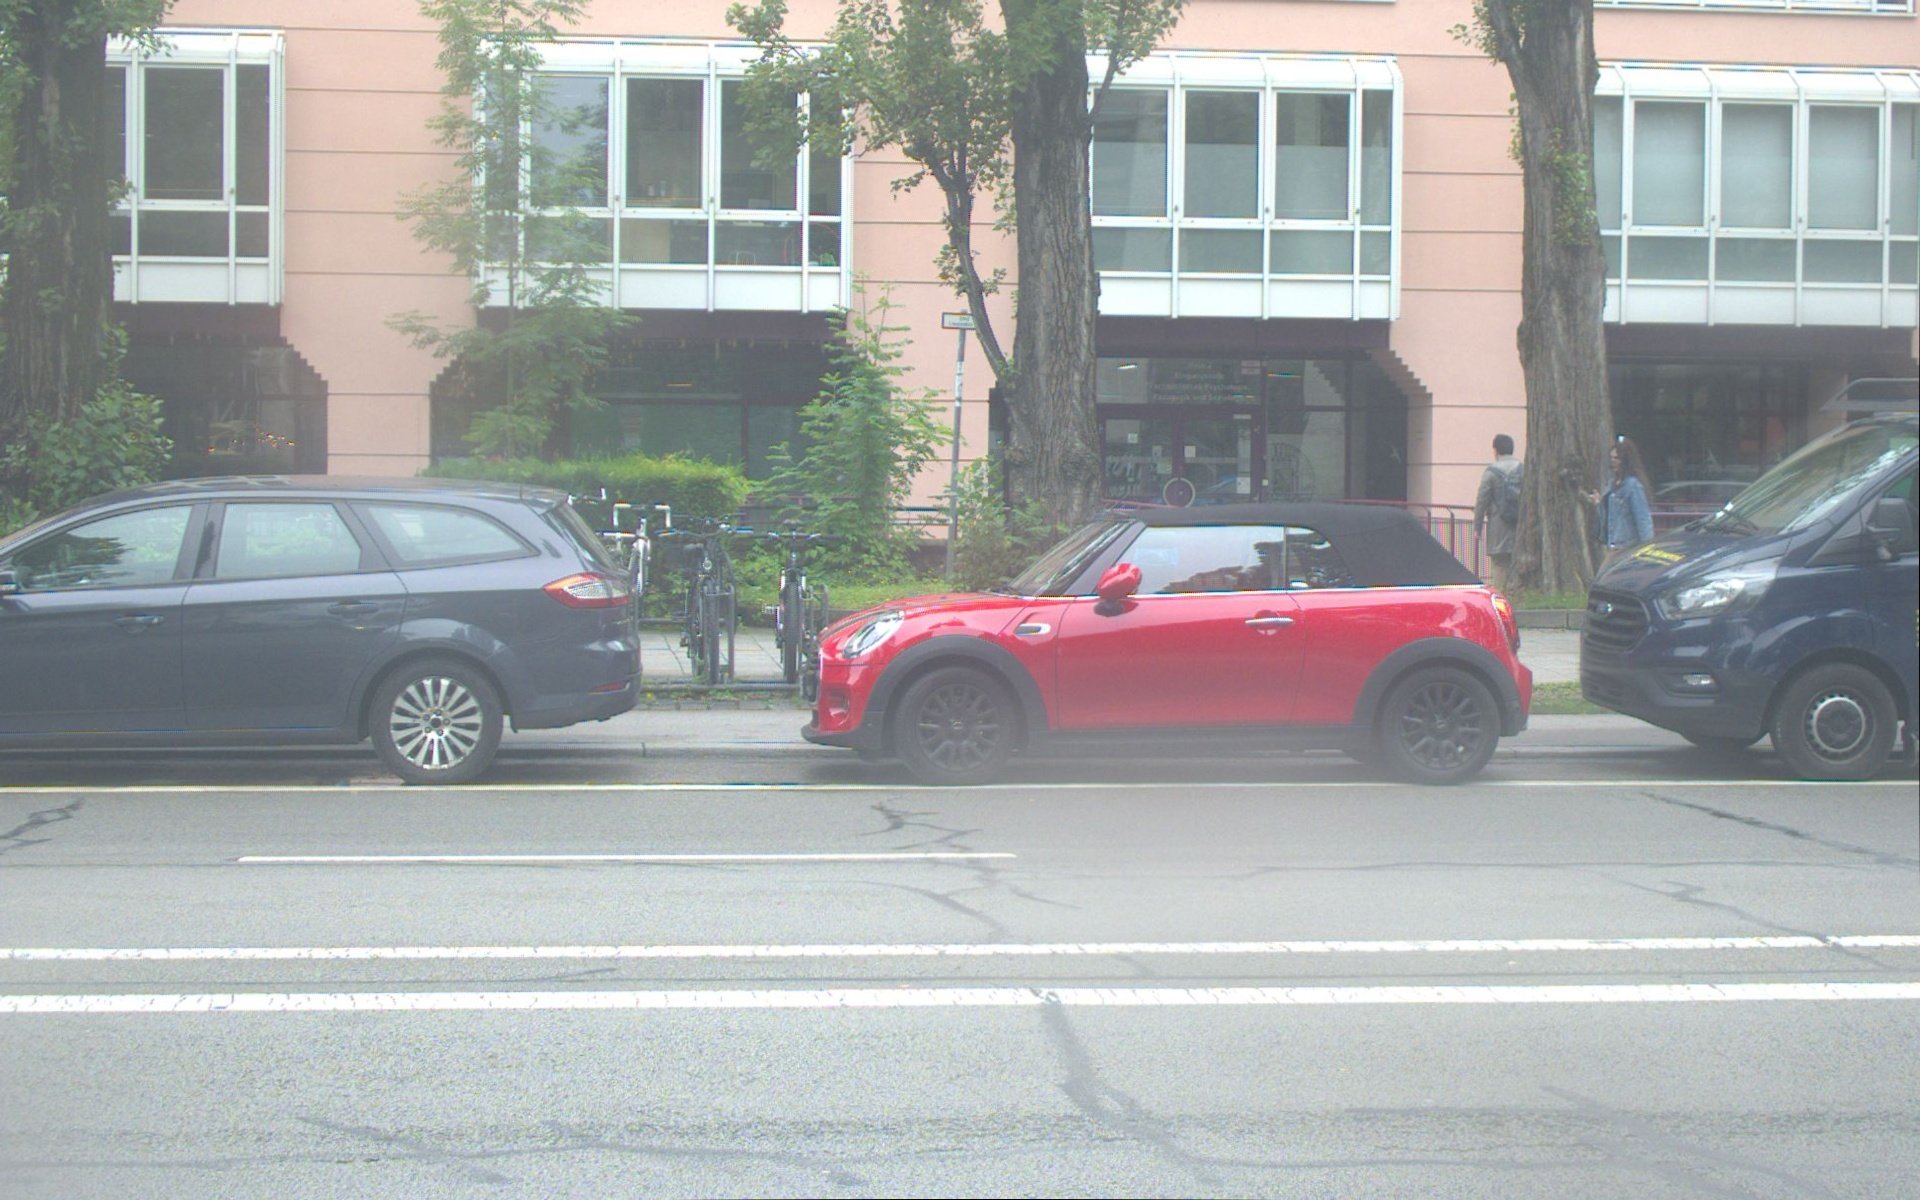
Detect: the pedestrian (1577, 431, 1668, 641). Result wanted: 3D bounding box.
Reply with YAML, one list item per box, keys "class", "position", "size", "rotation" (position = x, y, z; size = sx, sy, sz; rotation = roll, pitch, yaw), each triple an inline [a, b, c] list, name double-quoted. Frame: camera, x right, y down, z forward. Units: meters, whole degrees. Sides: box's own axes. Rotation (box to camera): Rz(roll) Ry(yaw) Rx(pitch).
- class: "pedestrian"
  position: [5.284, -0.519, 27.443]
  size: [0.557, 1.657, 0.621]
  rotation: [0, 2, -3]

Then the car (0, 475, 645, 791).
- class: "car"
  position: [-3.968, 0.133, 17.756]
  size: [4.607, 1.523, 1.794]
  rotation: [0, 3, -7]

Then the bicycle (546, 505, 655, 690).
- class: "bicycle"
  position: [-2.332, -0.039, 22.237]
  size: [0.674, 1.120, 1.742]
  rotation: [0, 3, -6]

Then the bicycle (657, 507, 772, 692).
- class: "bicycle"
  position: [-1.610, -0.027, 22.309]
  size: [0.674, 1.120, 1.742]
  rotation: [0, 3, -6]

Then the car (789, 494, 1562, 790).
- class: "car"
  position: [1.055, 0.193, 18.125]
  size: [3.860, 1.443, 1.679]
  rotation: [0, 3, -4]

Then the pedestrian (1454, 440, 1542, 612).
- class: "pedestrian"
  position: [5.413, -0.753, 34.629]
  size: [0.707, 1.707, 0.732]
  rotation: [1, 2, -4]

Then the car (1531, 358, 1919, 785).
- class: "car"
  position: [6.119, -0.180, 18.944]
  size: [5.478, 2.189, 2.024]
  rotation: [0, 3, -7]

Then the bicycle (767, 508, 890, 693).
- class: "bicycle"
  position: [-0.870, -0.021, 22.388]
  size: [0.674, 1.120, 1.730]
  rotation: [0, 3, -6]
